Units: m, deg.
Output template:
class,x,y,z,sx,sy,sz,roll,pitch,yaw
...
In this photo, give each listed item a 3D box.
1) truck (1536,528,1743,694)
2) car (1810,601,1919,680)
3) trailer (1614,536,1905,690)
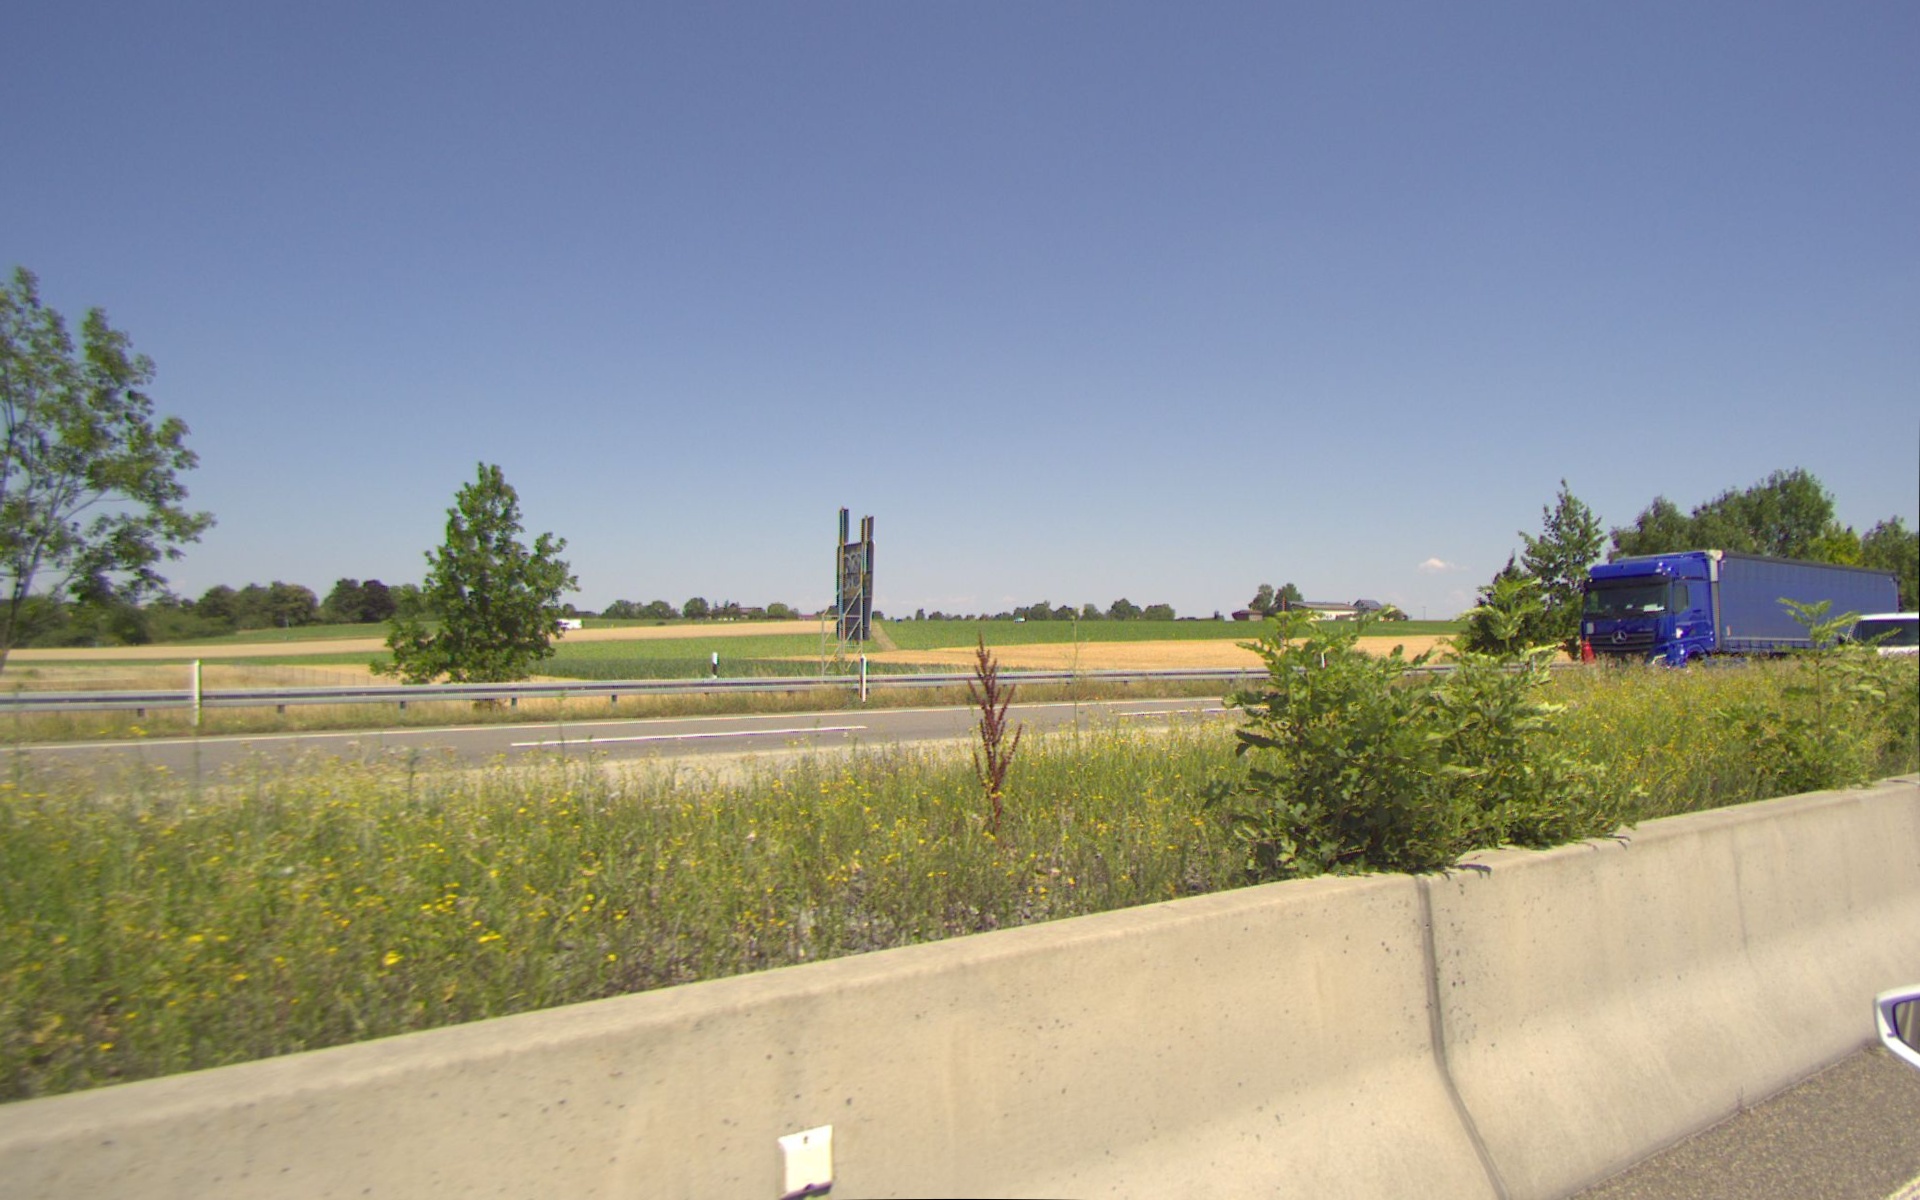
class,x,y,z,sx,sy,sz,roll,pitch,yaw
truck,19.741,0.377,29.168,5.520,4.407,2.852,1,-2,-30
car,26.597,1.135,28.273,5.691,2.040,2.176,1,-2,-28
trailer,26.841,0.533,33.320,13.481,4.407,2.870,1,-2,-30
